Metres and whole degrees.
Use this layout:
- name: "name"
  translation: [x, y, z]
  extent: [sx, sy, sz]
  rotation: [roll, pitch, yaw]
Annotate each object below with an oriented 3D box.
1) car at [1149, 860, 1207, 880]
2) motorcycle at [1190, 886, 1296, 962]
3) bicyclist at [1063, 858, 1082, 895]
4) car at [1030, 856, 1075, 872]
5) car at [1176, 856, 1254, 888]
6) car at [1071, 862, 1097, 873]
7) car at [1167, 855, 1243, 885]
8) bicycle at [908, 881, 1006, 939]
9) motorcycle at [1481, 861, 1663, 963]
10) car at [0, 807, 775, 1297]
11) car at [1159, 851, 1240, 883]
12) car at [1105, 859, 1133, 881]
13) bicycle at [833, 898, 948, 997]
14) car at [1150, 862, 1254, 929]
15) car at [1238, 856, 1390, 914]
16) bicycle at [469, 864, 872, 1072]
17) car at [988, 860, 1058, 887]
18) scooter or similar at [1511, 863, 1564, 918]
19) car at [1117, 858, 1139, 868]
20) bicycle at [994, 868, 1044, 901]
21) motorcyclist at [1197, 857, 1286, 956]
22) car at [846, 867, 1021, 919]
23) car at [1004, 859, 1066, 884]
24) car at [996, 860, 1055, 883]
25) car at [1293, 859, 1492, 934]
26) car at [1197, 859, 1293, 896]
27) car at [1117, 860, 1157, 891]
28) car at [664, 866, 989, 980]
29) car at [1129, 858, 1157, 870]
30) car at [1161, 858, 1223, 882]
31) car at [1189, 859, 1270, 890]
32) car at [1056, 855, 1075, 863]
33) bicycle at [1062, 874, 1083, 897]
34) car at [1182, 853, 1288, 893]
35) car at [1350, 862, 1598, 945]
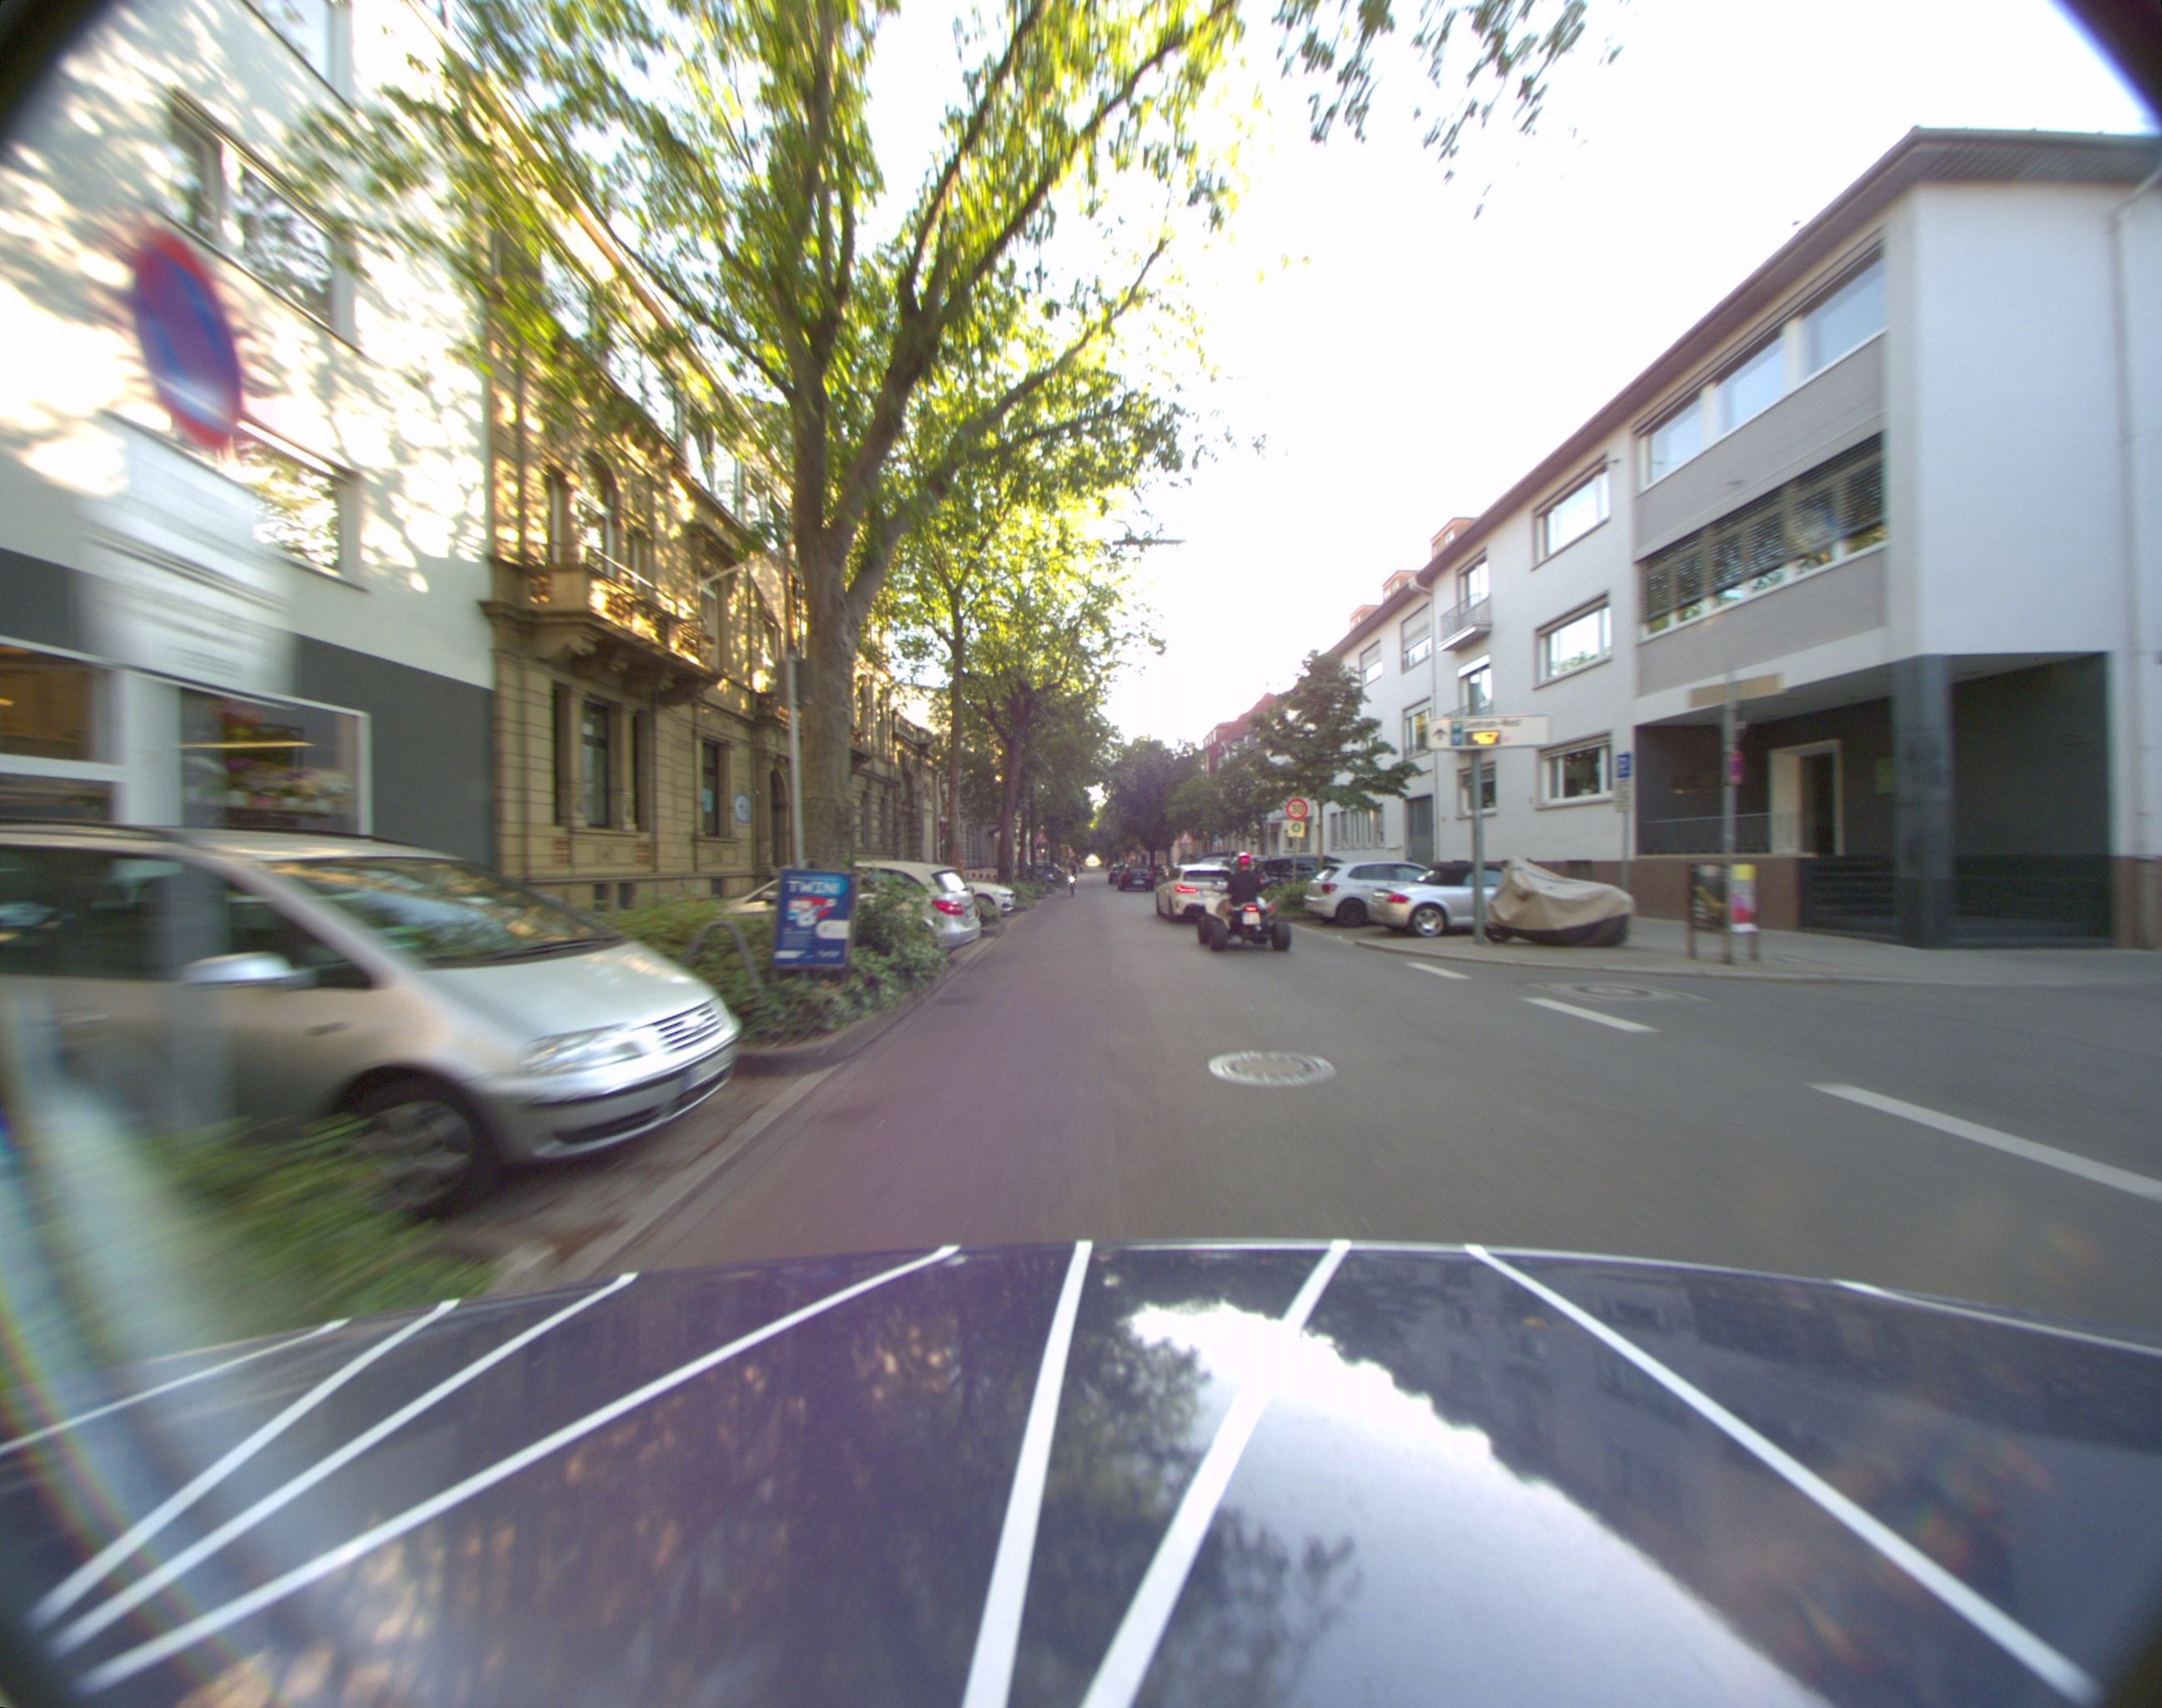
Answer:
- name: "car"
  translation: [7.951, 1.309, 62.263]
  extent: [4.436, 1.399, 1.717]
  rotation: [-2, 1, -3]
- name: "motorcycle"
  translation: [2.689, 1.133, 12.990]
  extent: [1.315, 1.084, 2.396]
  rotation: [-1, 0, 1]
- name: "bicyclist"
  translation: [-0.379, 1.007, 34.635]
  extent: [0.753, 1.612, 1.147]
  rotation: [-1, 0, 3]
- name: "car"
  translation: [-2.997, 1.060, 80.967]
  extent: [4.420, 1.552, 1.868]
  rotation: [2, -1, 8]
- name: "car"
  translation: [7.786, 1.033, 44.425]
  extent: [4.165, 1.581, 1.824]
  rotation: [-3, 0, 1]
- name: "car"
  translation: [0.442, 1.883, 108.473]
  extent: [3.552, 1.411, 1.590]
  rotation: [-3, 0, -2]
- name: "car"
  translation: [7.680, 0.997, 47.357]
  extent: [4.365, 1.563, 1.931]
  rotation: [-3, 0, 1]
- name: "bicycle"
  translation: [-2.656, 1.195, 16.302]
  extent: [2.027, 1.197, 0.488]
  rotation: [1, 0, -12]
- name: "motorcycle"
  translation: [7.315, 0.821, 11.478]
  extent: [2.150, 1.411, 0.969]
  rotation: [0, 0, 22]
- name: "car"
  translation: [-4.250, 0.777, 3.922]
  extent: [4.552, 1.903, 1.950]
  rotation: [0, 0, -2]
- name: "car"
  translation: [7.733, 0.857, 50.035]
  extent: [5.002, 1.979, 2.190]
  rotation: [-1, -1, 1]
- name: "car"
  translation: [2.873, 1.208, 58.079]
  extent: [1.882, 1.631, 4.646]
  rotation: [0, 0, 0]
- name: "bicycle"
  translation: [-2.410, 1.176, 9.684]
  extent: [1.340, 1.197, 0.488]
  rotation: [0, 0, 0]
- name: "car"
  translation: [3.012, 0.990, 19.799]
  extent: [1.882, 1.540, 4.274]
  rotation: [0, 0, -2]
- name: "car"
  translation: [7.120, 0.930, 23.549]
  extent: [4.103, 1.622, 1.936]
  rotation: [-2, 0, 2]
- name: "bicycle"
  translation: [-3.533, 0.953, 6.753]
  extent: [3.122, 1.653, 0.658]
  rotation: [-1, 0, -4]
- name: "car"
  translation: [-3.601, 1.213, 47.805]
  extent: [4.234, 1.472, 1.855]
  rotation: [2, 0, 1]
- name: "scooter or similar"
  translation: [11.176, 0.868, 18.625]
  extent: [0.516, 1.254, 1.421]
  rotation: [-2, 1, 5]
- name: "car"
  translation: [7.977, 1.509, 128.288]
  extent: [3.552, 1.411, 1.591]
  rotation: [-3, 0, 1]
- name: "bicycle"
  translation: [-2.667, 1.319, 32.753]
  extent: [2.051, 1.352, 0.508]
  rotation: [-2, 0, -1]
- name: "motorcyclist"
  translation: [2.693, 0.857, 12.873]
  extent: [1.283, 1.582, 1.077]
  rotation: [-1, 0, 1]
- name: "car"
  translation: [-4.128, 1.092, 21.815]
  extent: [4.594, 1.429, 1.926]
  rotation: [0, 0, 2]
- name: "car"
  translation: [-3.427, 1.296, 56.868]
  extent: [4.451, 1.708, 1.968]
  rotation: [1, 1, 1]
- name: "car"
  translation: [-3.943, 1.244, 54.397]
  extent: [4.017, 1.677, 1.765]
  rotation: [0, -1, 1]
- name: "car"
  translation: [6.927, 0.922, 17.172]
  extent: [3.751, 1.450, 1.735]
  rotation: [-3, 0, 0]
- name: "car"
  translation: [7.426, 1.039, 34.716]
  extent: [4.038, 1.485, 1.781]
  rotation: [-3, 0, 4]
- name: "car"
  translation: [3.050, 1.150, 41.810]
  extent: [1.881, 1.540, 4.275]
  rotation: [2, 0, 1]
- name: "car"
  translation: [-3.676, 0.963, 11.529]
  extent: [4.234, 1.551, 1.971]
  rotation: [0, -1, 4]
- name: "car"
  translation: [8.188, 1.393, 101.123]
  extent: [3.497, 1.397, 1.673]
  rotation: [-3, 0, -2]
- name: "car"
  translation: [8.341, 1.198, 57.501]
  extent: [4.365, 1.530, 1.771]
  rotation: [-3, 1, 1]
- name: "car"
  translation: [7.718, 1.082, 39.758]
  extent: [3.855, 1.442, 1.855]
  rotation: [-2, -1, 1]
- name: "car"
  translation: [-2.965, 0.933, 145.034]
  extent: [3.552, 1.411, 1.591]
  rotation: [-3, 0, 1]
- name: "bicycle"
  translation: [-0.367, 1.441, 34.616]
  extent: [0.778, 0.967, 2.025]
  rotation: [-1, 0, 4]
- name: "car"
  translation: [7.446, 0.931, 37.125]
  extent: [4.677, 1.755, 2.157]
  rotation: [-2, 0, 0]
- name: "car"
  translation: [7.364, 0.897, 14.522]
  extent: [3.749, 1.303, 1.844]
  rotation: [-3, 0, 0]
